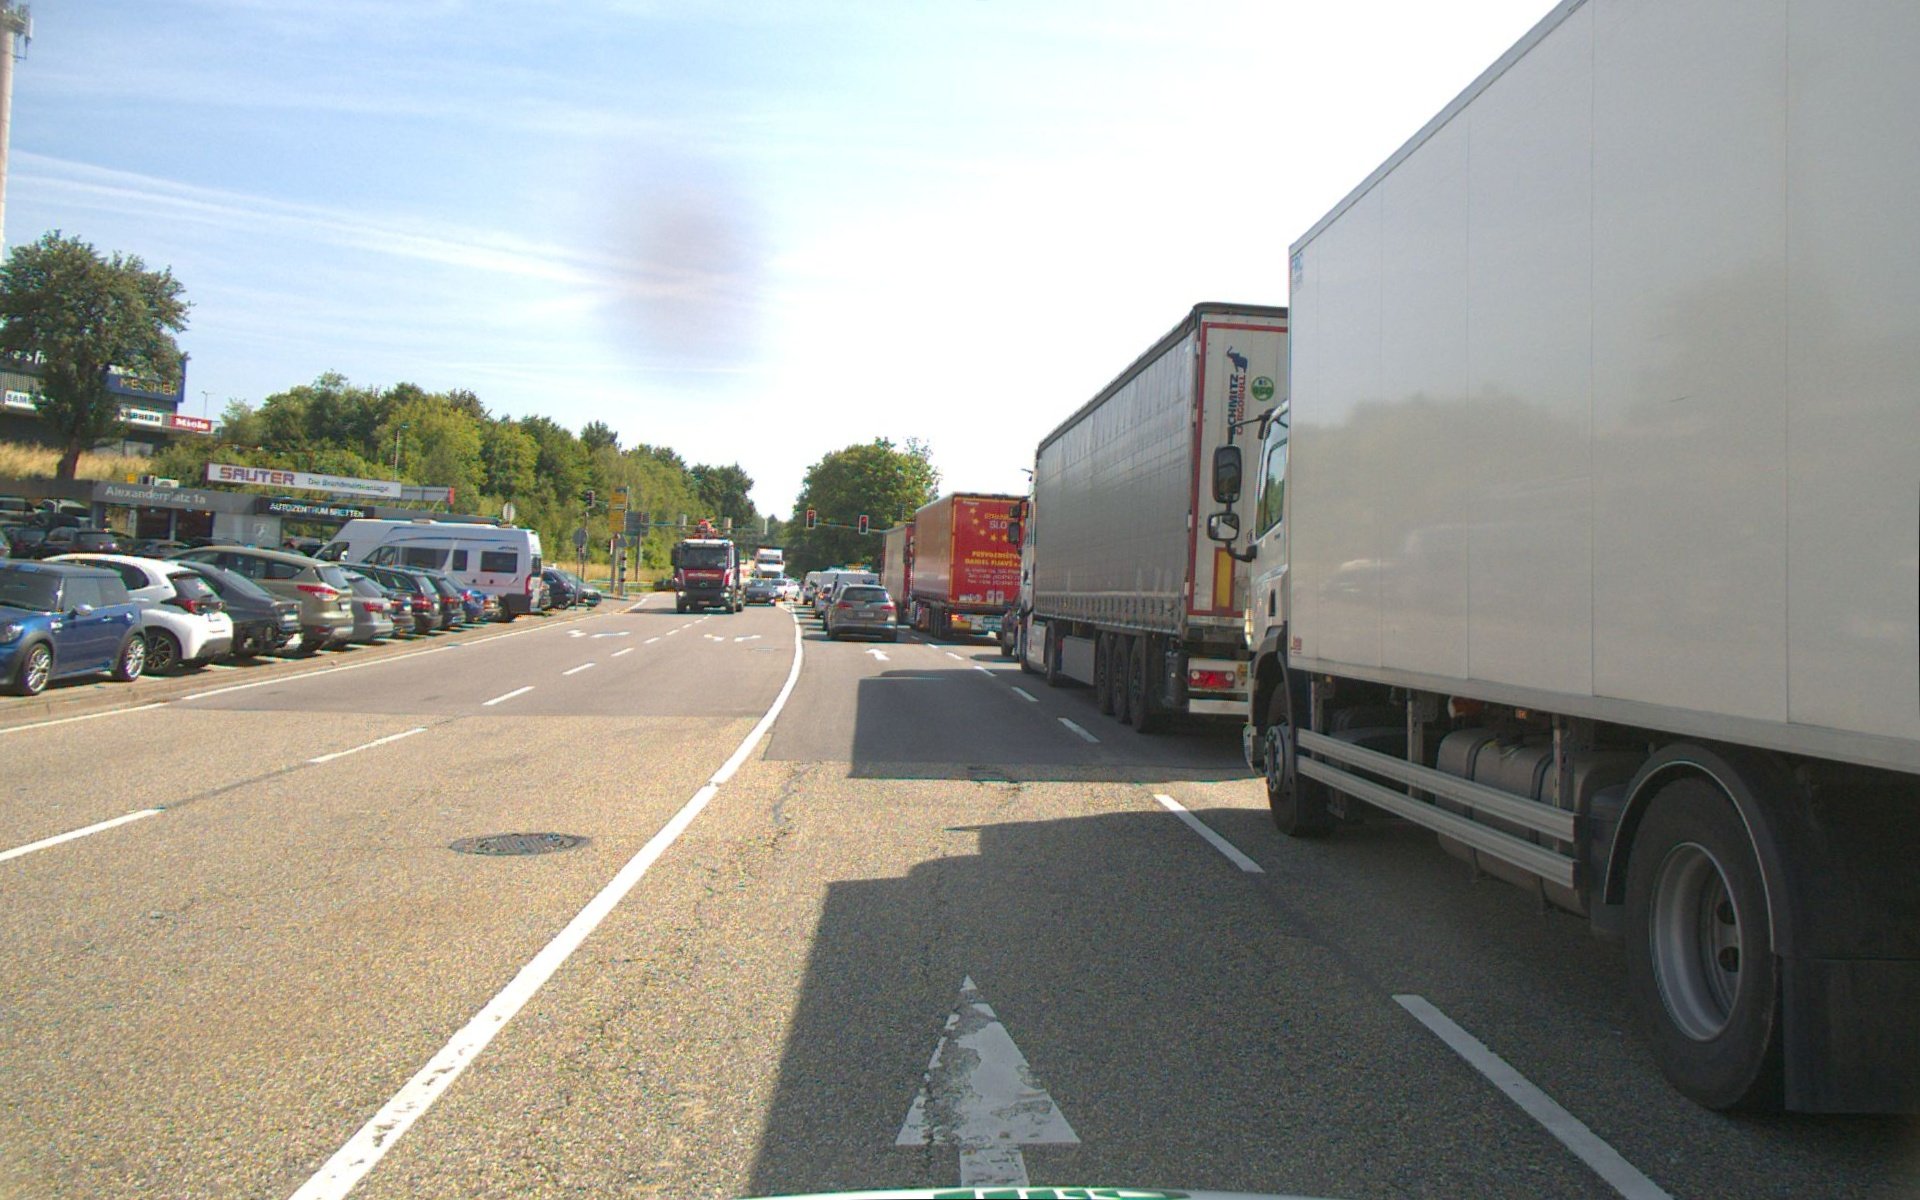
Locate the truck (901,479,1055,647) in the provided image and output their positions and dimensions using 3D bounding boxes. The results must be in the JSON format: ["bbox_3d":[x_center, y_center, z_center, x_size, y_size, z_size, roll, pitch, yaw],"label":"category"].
[{"bbox_3d":[0.192,-1.096,52.382,2.900,4.344,16.565,3,0,-6],"label":"truck"}]

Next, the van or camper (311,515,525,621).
[{"bbox_3d":[-16.642,-0.994,51.060,5.778,2.923,2.287,3,1,-6],"label":"van or camper"}]

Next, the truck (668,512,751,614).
[{"bbox_3d":[-11.248,-1.605,75.192,2.898,4.282,10.638,0,1,-4],"label":"truck"}]

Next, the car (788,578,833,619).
[{"bbox_3d":[-6.125,-0.072,67.616,1.693,1.545,3.308,3,0,-6],"label":"car"}]

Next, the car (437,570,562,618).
[{"bbox_3d":[-15.496,-0.214,55.806,3.744,1.473,1.840,2,0,-7],"label":"car"}]

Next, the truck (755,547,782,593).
[{"bbox_3d":[-18.939,-2.953,163.957,2.503,4.382,7.586,1,1,-6],"label":"truck"}]

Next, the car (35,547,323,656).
[{"bbox_3d":[-12.116,0.016,25.867,3.637,1.552,1.789,2,0,-8],"label":"car"}]

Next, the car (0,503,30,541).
[{"bbox_3d":[-40.390,-3.285,68.994,3.685,1.476,1.725,2,-1,44],"label":"car"}]

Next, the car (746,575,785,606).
[{"bbox_3d":[-10.720,-0.537,91.397,1.770,1.587,4.385,2,1,-3],"label":"car"}]

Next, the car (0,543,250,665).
[{"bbox_3d":[-12.188,0.029,23.129,3.724,1.552,1.844,2,0,-8],"label":"car"}]

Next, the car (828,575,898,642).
[{"bbox_3d":[-2.544,0.213,43.900,1.754,1.667,3.502,2,0,-3],"label":"car"}]

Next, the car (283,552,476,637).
[{"bbox_3d":[-13.353,-0.129,38.255,3.773,1.510,1.799,6,0,-8],"label":"car"}]

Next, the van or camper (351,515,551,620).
[{"bbox_3d":[-14.923,-0.947,48.778,5.143,2.779,2.208,3,0,-5],"label":"van or camper"}]

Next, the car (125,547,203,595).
[{"bbox_3d":[-28.739,-1.045,59.676,1.751,1.616,3.777,2,0,-38],"label":"car"}]

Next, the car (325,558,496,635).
[{"bbox_3d":[-13.522,-0.095,40.878,3.638,1.582,1.705,4,1,-7],"label":"car"}]

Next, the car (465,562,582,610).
[{"bbox_3d":[-15.508,-0.499,58.866,3.744,1.566,1.840,2,0,-7],"label":"car"}]

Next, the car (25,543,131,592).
[{"bbox_3d":[-31.281,-1.159,58.642,3.751,1.616,1.763,2,0,35],"label":"car"}]

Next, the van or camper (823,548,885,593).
[{"bbox_3d":[-8.480,-2.345,132.565,2.165,3.107,5.898,7,1,24],"label":"van or camper"}]

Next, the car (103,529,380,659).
[{"bbox_3d":[-12.148,-0.101,28.178,3.814,1.746,1.804,6,0,-8],"label":"car"}]

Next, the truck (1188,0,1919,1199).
[{"bbox_3d":[3.441,-0.391,7.238,2.821,3.877,11.137,2,0,-2],"label":"truck"}]

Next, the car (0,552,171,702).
[{"bbox_3d":[-11.318,0.252,20.029,1.745,1.519,3.779,6,0,-3],"label":"car"}]

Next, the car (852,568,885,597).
[{"bbox_3d":[-5.418,-0.996,97.214,1.694,1.545,3.308,3,-1,-6],"label":"car"}]

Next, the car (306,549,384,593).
[{"bbox_3d":[-24.113,-1.136,64.813,1.751,1.616,3.777,2,0,-38],"label":"car"}]

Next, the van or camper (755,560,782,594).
[{"bbox_3d":[-17.387,-2.035,150.483,2.181,2.890,5.703,3,0,-6],"label":"van or camper"}]

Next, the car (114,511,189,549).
[{"bbox_3d":[-35.097,-3.033,71.764,3.685,1.476,1.725,2,-1,44],"label":"car"}]

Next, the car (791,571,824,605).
[{"bbox_3d":[-9.056,-0.698,98.606,1.692,1.942,3.310,3,0,-3],"label":"car"}]

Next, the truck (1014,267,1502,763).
[{"bbox_3d":[2.961,-0.818,23.209,2.833,4.340,16.699,2,0,-3],"label":"truck"}]

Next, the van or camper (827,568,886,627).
[{"bbox_3d":[-3.668,-0.100,58.269,1.817,1.939,3.780,3,0,-6],"label":"van or camper"}]

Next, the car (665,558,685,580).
[{"bbox_3d":[-29.119,-3.125,169.020,1.958,2.049,3.990,3,0,-10],"label":"car"}]

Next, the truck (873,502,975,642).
[{"bbox_3d":[-1.854,-1.192,72.986,3.003,5.311,16.987,3,0,-6],"label":"truck"}]

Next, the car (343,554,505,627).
[{"bbox_3d":[-13.980,-0.251,43.301,3.639,1.510,1.705,6,0,-8],"label":"car"}]

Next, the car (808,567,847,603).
[{"bbox_3d":[-6.105,-0.688,76.370,1.693,1.545,3.309,3,0,-4],"label":"car"}]

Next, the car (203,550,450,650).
[{"bbox_3d":[-12.711,-0.001,33.432,4.218,1.510,1.796,6,0,-7],"label":"car"}]

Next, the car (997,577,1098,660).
[{"bbox_3d":[1.905,0.378,37.108,1.783,1.714,3.997,2,0,-4],"label":"car"}]

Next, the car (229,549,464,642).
[{"bbox_3d":[-13.284,-0.109,36.063,4.376,1.510,1.769,6,0,-8],"label":"car"}]

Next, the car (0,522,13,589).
[{"bbox_3d":[-24.149,-1.099,38.170,3.894,1.559,1.752,2,0,-29],"label":"car"}]

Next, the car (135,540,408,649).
[{"bbox_3d":[-12.660,-0.107,30.658,4.198,1.510,1.833,6,0,-8],"label":"car"}]
